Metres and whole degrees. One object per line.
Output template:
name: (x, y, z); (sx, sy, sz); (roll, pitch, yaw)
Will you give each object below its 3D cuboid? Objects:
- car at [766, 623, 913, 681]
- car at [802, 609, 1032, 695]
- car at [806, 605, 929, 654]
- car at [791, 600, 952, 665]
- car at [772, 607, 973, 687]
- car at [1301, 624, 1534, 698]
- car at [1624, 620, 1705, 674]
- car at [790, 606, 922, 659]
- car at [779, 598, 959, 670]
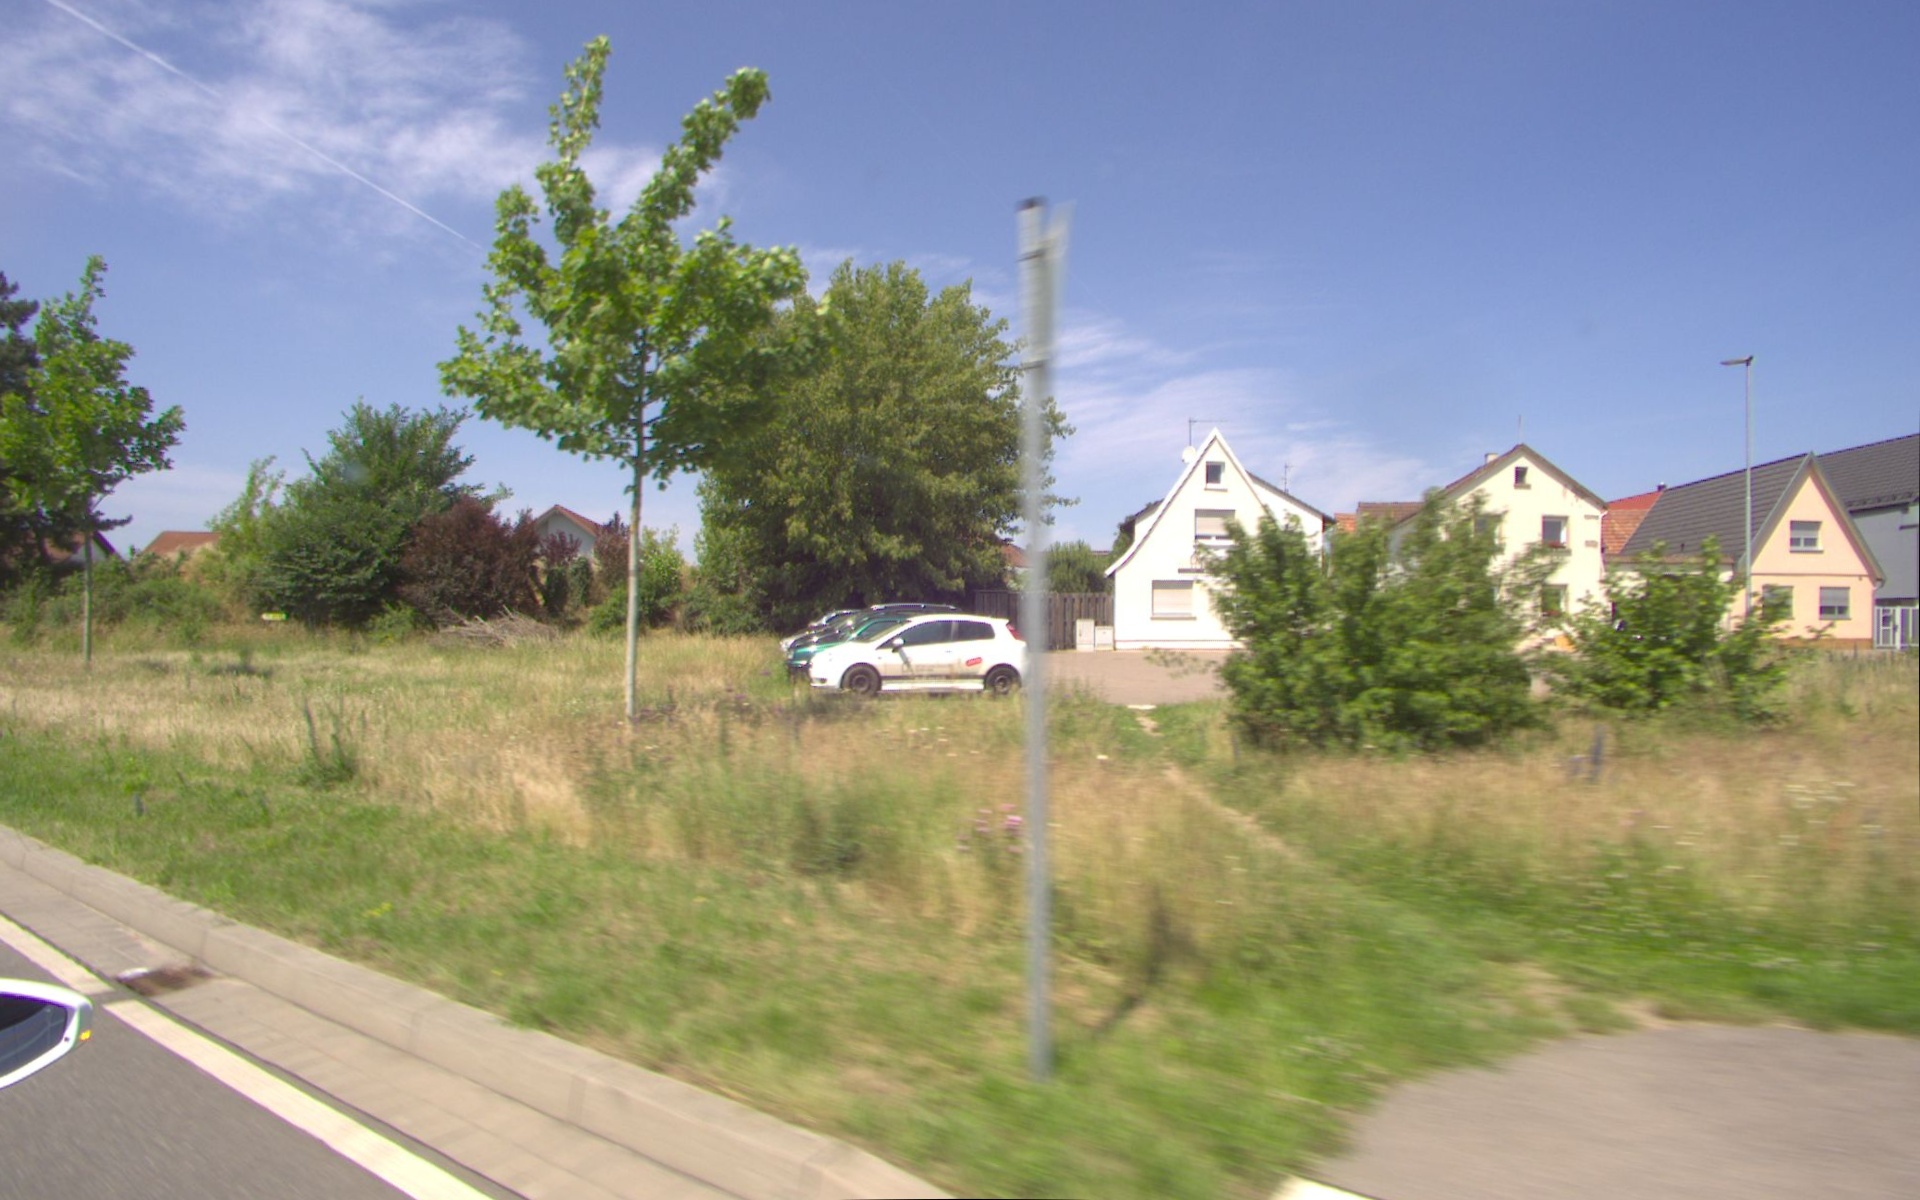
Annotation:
car: (-3.374, 1.432, 27.811); (3.893, 1.461, 1.773); (2, -1, -10)
car: (-0.822, 0.904, 18.019); (3.925, 1.446, 1.746); (0, -1, -11)
car: (-3.075, 0.980, 33.069); (3.892, 1.461, 1.773); (2, -1, -10)
car: (-2.274, 0.820, 25.429); (3.892, 1.461, 1.773); (2, -1, -9)
car: (-1.811, 0.952, 20.464); (3.892, 1.461, 1.773); (2, -1, -9)
car: (8.835, 1.129, 19.415); (3.928, 1.328, 1.745); (1, -1, -16)
car: (19.895, 1.294, 28.396); (1.627, 1.411, 3.980); (0, -1, 32)
car: (-3.231, 1.010, 30.767); (3.892, 1.461, 1.773); (2, -1, -10)
car: (-2.105, 0.773, 22.858); (3.892, 1.461, 1.773); (2, -1, -9)
